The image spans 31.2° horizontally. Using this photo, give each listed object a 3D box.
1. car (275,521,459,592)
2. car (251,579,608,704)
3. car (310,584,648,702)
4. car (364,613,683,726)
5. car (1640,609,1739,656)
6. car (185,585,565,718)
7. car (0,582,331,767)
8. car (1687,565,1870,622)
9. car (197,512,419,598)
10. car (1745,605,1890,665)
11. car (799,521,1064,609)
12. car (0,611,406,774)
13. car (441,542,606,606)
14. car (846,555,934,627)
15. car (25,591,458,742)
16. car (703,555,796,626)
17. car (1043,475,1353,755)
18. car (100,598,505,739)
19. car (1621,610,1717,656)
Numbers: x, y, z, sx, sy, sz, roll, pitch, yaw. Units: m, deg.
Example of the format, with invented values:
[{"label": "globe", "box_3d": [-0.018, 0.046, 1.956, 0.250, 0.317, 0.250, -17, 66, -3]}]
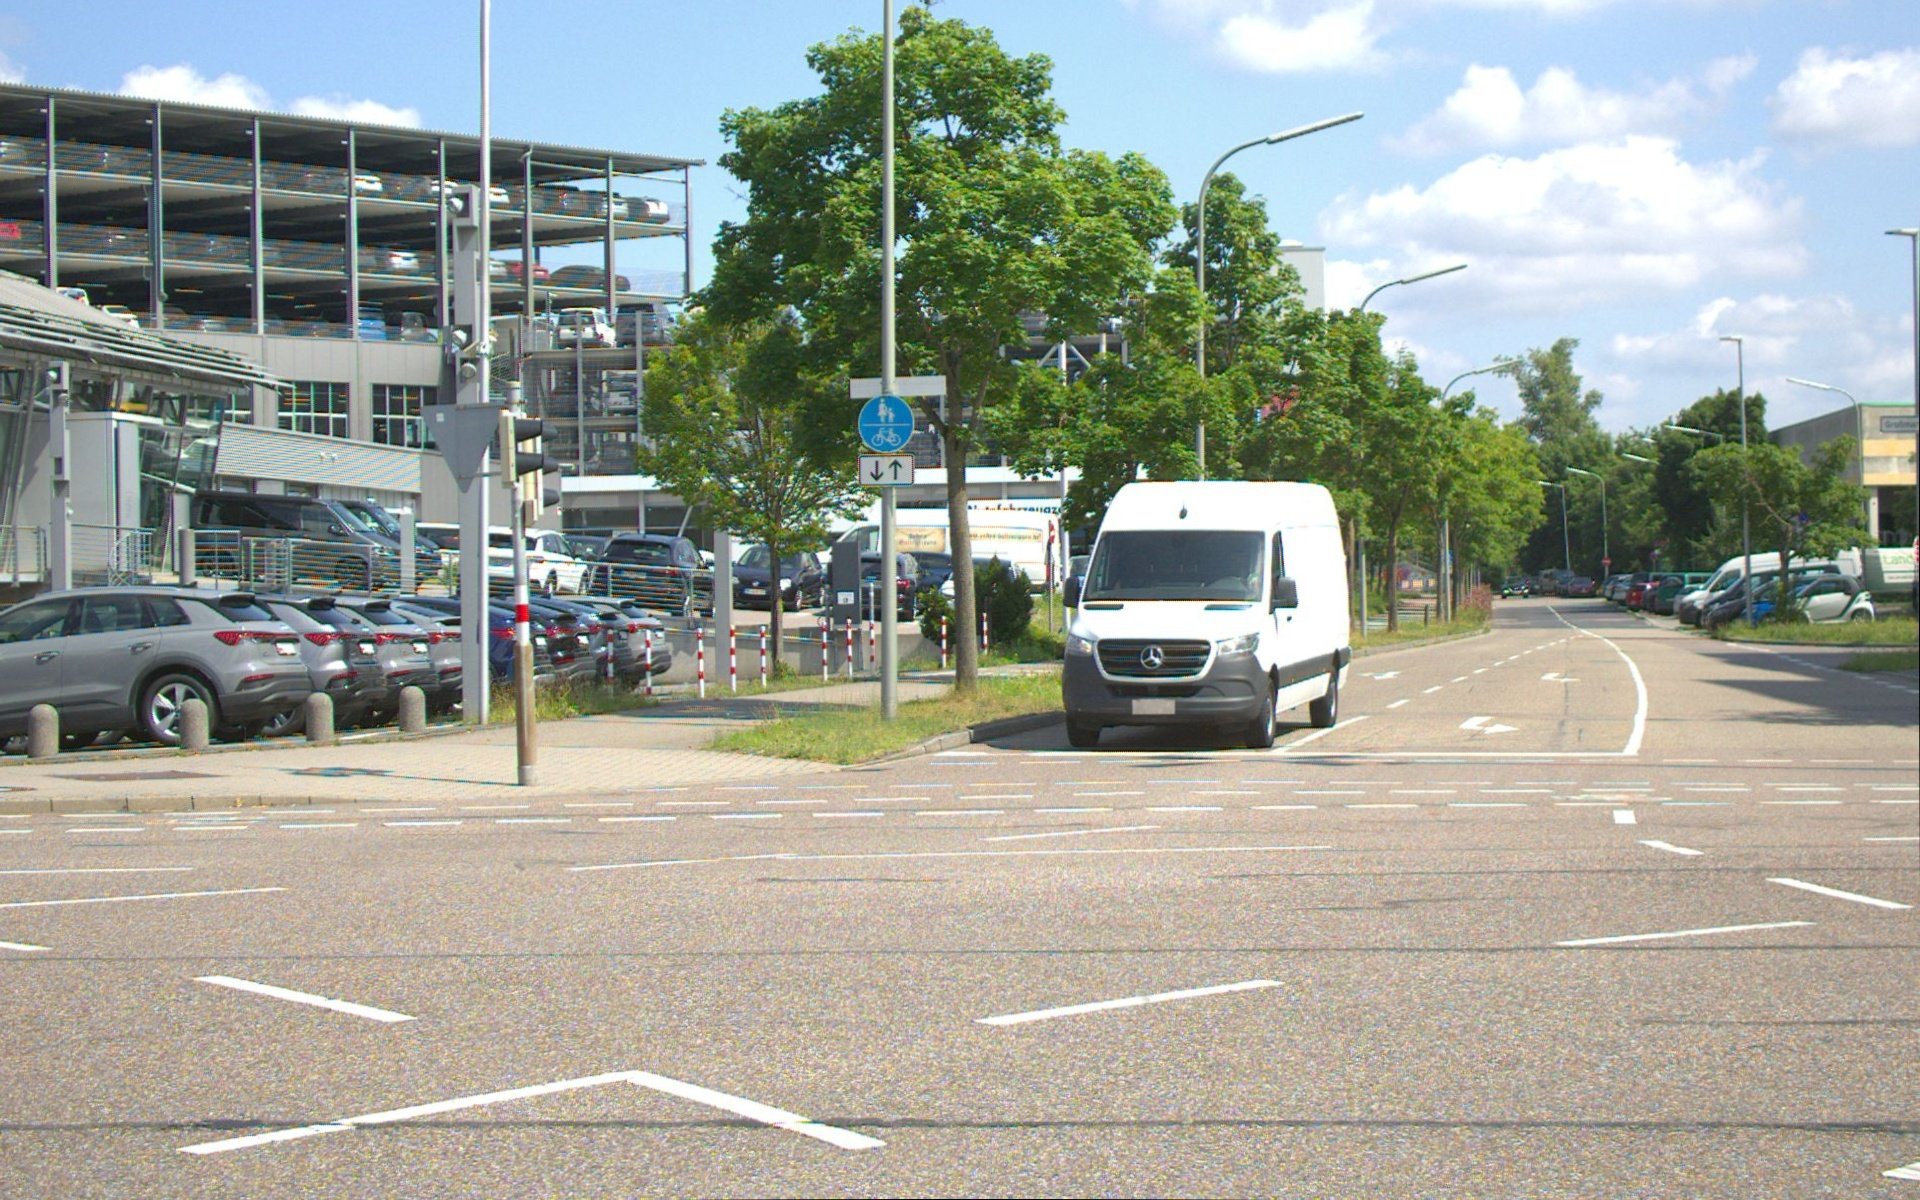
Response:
[{"label": "car", "box_3d": [-13.826, -1.009, 80.320, 3.987, 1.547, 1.765, 1, -1, -1]}, {"label": "car", "box_3d": [-7.409, 0.585, 48.195, 4.576, 1.672, 1.906, 1, -1, 8]}, {"label": "car", "box_3d": [-7.068, 0.635, 50.763, 4.576, 1.672, 1.906, 1, -1, 8]}, {"label": "car", "box_3d": [-6.778, 1.073, 53.608, 4.576, 1.672, 1.906, 1, -1, 8]}, {"label": "car", "box_3d": [32.132, 1.432, 151.449, 3.987, 2.007, 2.000, 1, -1, 3]}, {"label": "car", "box_3d": [-7.696, 0.681, 45.475, 4.576, 1.672, 1.906, 1, -1, 8]}, {"label": "car", "box_3d": [-8.887, 0.796, 34.655, 4.576, 1.672, 1.906, -3, -1, 8]}, {"label": "car", "box_3d": [30.166, -0.219, 126.870, 6.343, 2.007, 2.572, 1, -1, 9]}, {"label": "car", "box_3d": [-14.240, -0.972, 75.200, 4.442, 1.795, 1.764, 1, -1, 5]}, {"label": "car", "box_3d": [25.446, 1.050, 102.166, 3.988, 1.744, 1.999, 1, -1, 9]}, {"label": "car", "box_3d": [-0.676, -0.860, 85.200, 6.389, 2.095, 1.764, 1, -1, 6]}, {"label": "car", "box_3d": [-8.488, 0.980, 37.139, 4.576, 1.672, 1.906, 1, -1, 8]}, {"label": "car", "box_3d": [-11.051, -0.651, 87.199, 3.987, 1.547, 1.765, 1, -1, -1]}, {"label": "car", "box_3d": [-1.564, -0.184, 77.803, 1.561, 1.547, 3.601, 1, -1, 5]}, {"label": "car", "box_3d": [-8.388, 0.774, 40.314, 4.576, 1.672, 1.906, 1, -1, 8]}, {"label": "car", "box_3d": [-4.808, -0.208, 78.870, 1.561, 1.547, 3.601, 1, -1, 5]}, {"label": "car", "box_3d": [2.589, 0.193, 35.399, 2.134, 2.598, 6.859, 0, -1, 13]}, {"label": "car", "box_3d": [-8.154, 0.846, 42.826, 4.576, 1.672, 1.906, 1, -1, 8]}, {"label": "car", "box_3d": [32.033, 1.491, 155.340, 3.987, 2.007, 2.000, 1, -1, 3]}]
